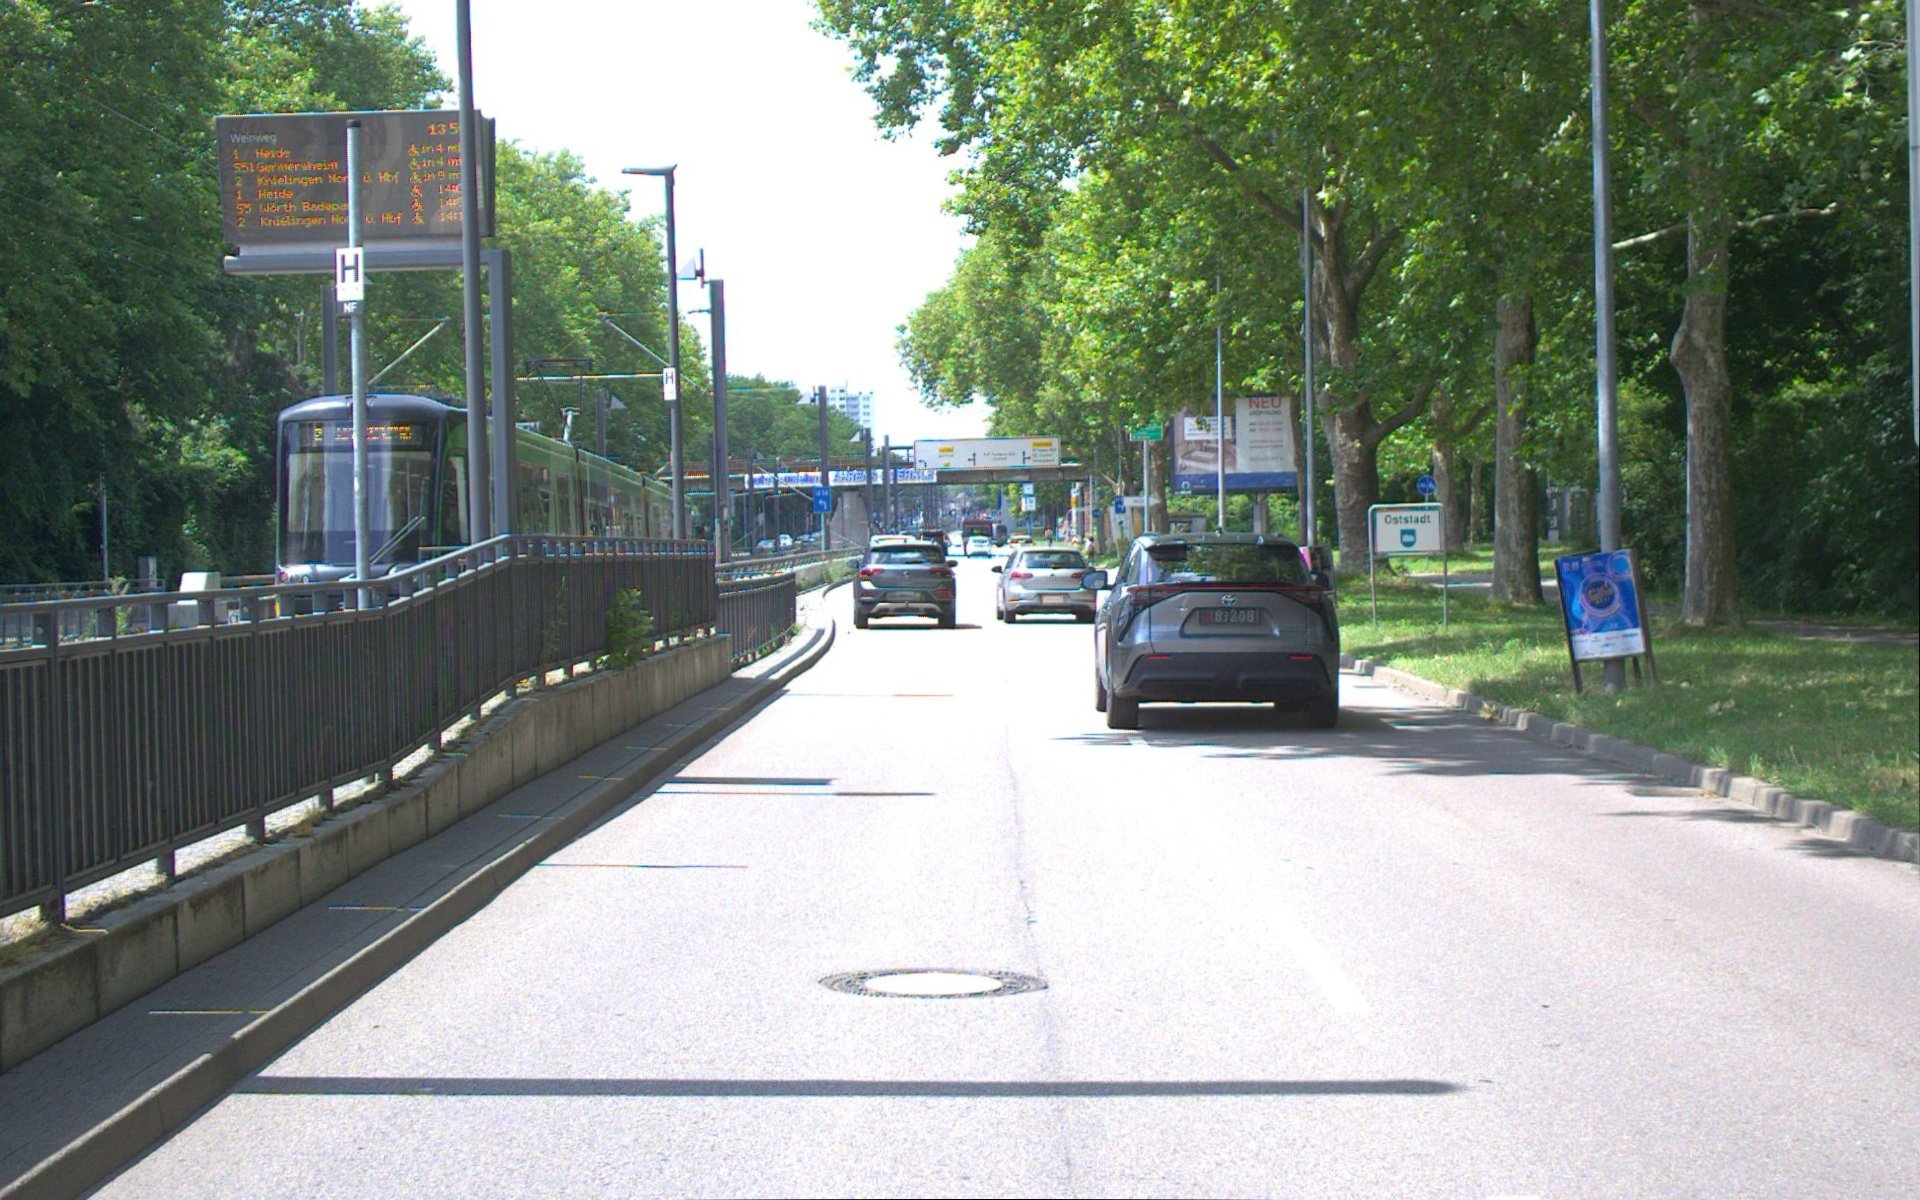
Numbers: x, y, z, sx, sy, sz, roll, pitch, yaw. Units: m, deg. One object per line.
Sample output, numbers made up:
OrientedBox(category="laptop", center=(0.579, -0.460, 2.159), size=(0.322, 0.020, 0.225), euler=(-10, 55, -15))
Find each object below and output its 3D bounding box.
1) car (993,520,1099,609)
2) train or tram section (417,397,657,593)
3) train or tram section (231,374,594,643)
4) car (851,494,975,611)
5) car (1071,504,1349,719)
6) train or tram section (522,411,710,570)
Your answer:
OrientedBox(category="car", center=(1.601, -0.682, 65.374), size=(1.831, 1.624, 4.296), euler=(0, 1, -1))
OrientedBox(category="train or tram section", center=(-7.398, -1.833, 61.409), size=(3.037, 3.175, 9.448), euler=(-1, 1, 0))
OrientedBox(category="train or tram section", center=(-7.311, -1.247, 48.246), size=(3.037, 3.175, 14.102), euler=(-1, 1, -1))
OrientedBox(category="car", center=(-0.804, -0.878, 61.347), size=(1.993, 1.982, 4.363), euler=(1, 2, 2))
OrientedBox(category="car", center=(2.026, 0.095, 29.060), size=(1.897, 1.669, 4.520), euler=(0, 0, -1))
OrientedBox(category="train or tram section", center=(-7.305, -2.316, 74.313), size=(3.037, 3.175, 9.448), euler=(-1, 1, 0))
